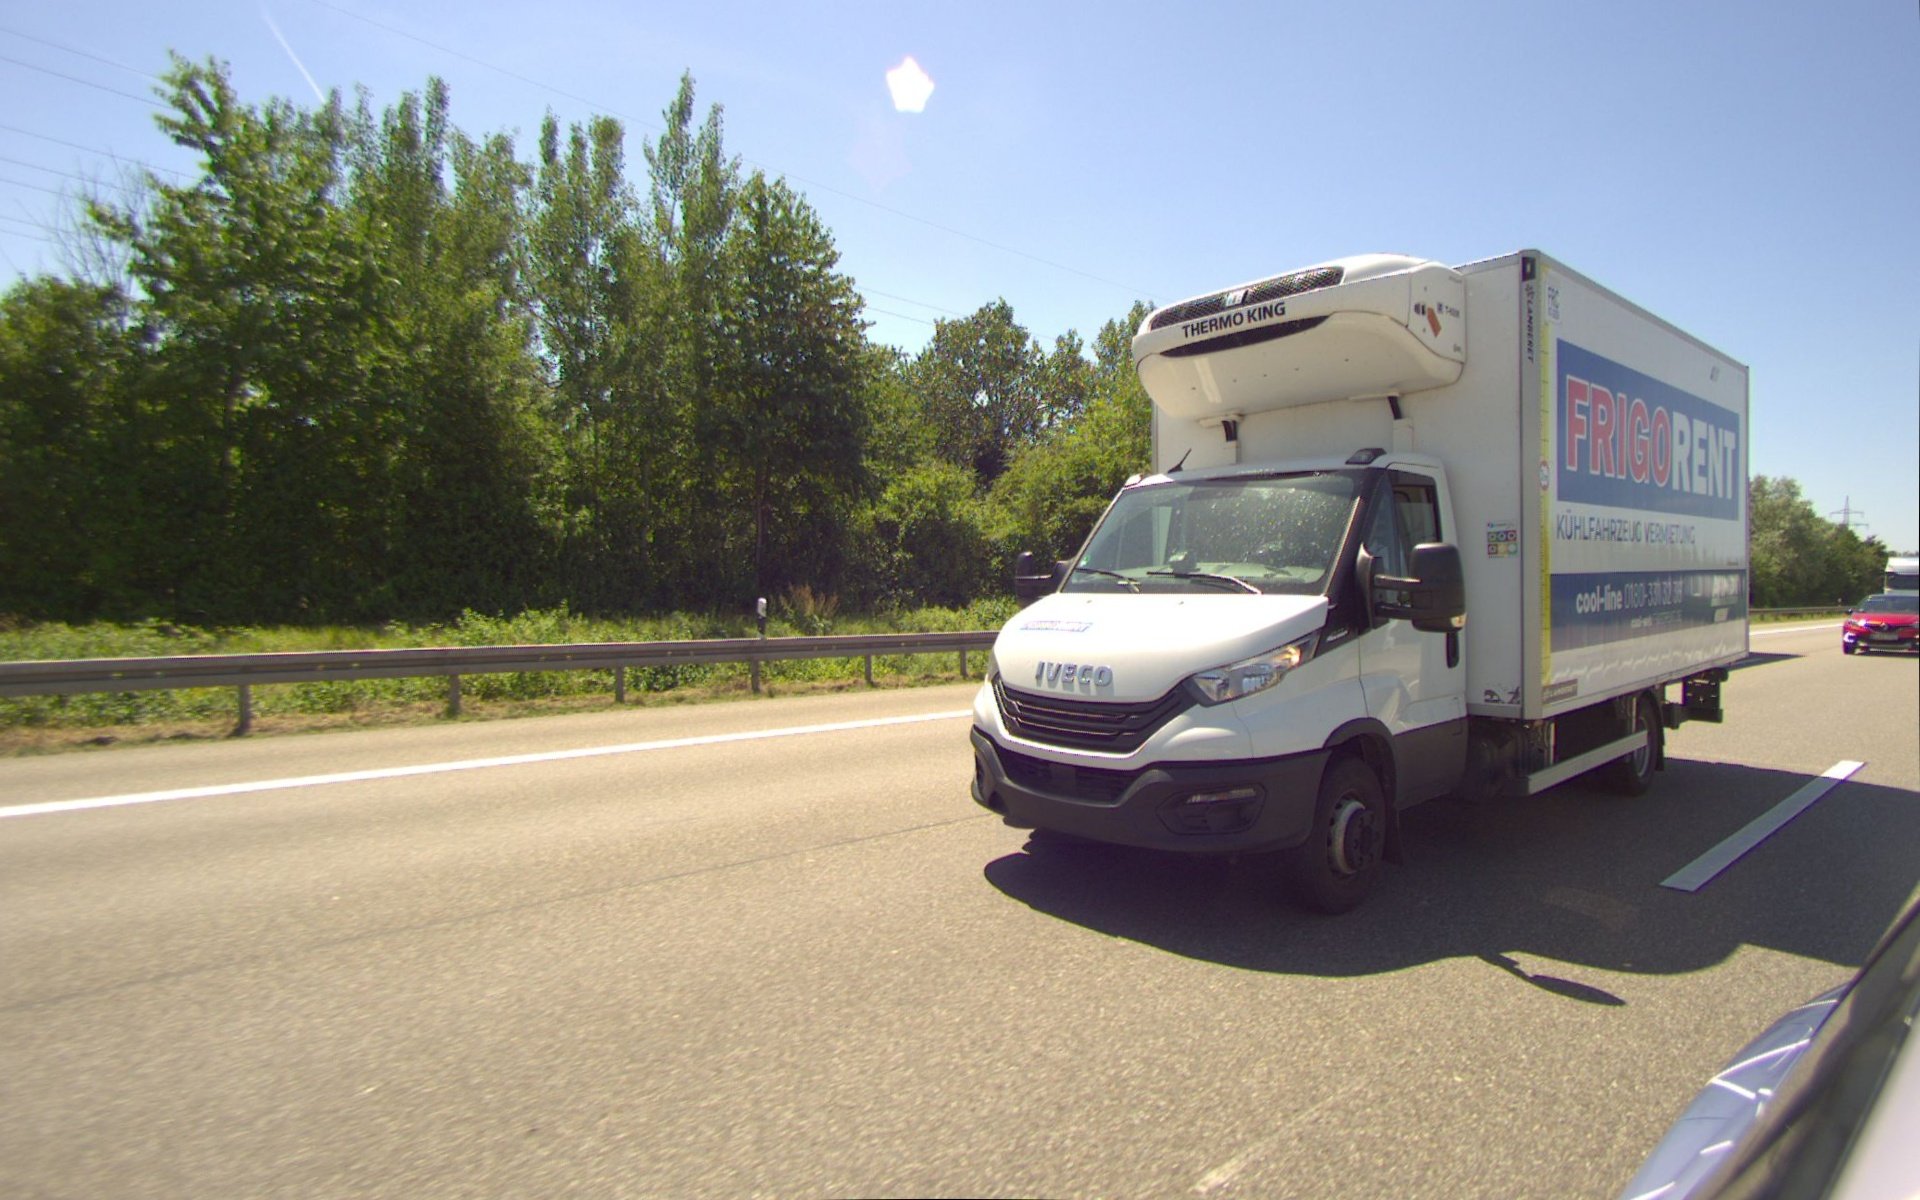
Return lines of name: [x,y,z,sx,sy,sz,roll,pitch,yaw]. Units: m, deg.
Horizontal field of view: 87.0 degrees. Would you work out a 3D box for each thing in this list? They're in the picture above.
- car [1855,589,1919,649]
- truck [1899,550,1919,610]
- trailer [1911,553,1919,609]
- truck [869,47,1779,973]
car: [24.572,0.449,26.106,3.929,1.466,1.670,0,0,-40]
truck: [60.233,-1.204,62.546,6.343,3.598,2.456,-1,0,-40]
trailer: [65.425,-1.274,67.036,9.547,3.598,2.455,-1,0,-40]
truck: [3.274,-0.376,7.288,7.677,3.390,2.782,-1,0,-41]
